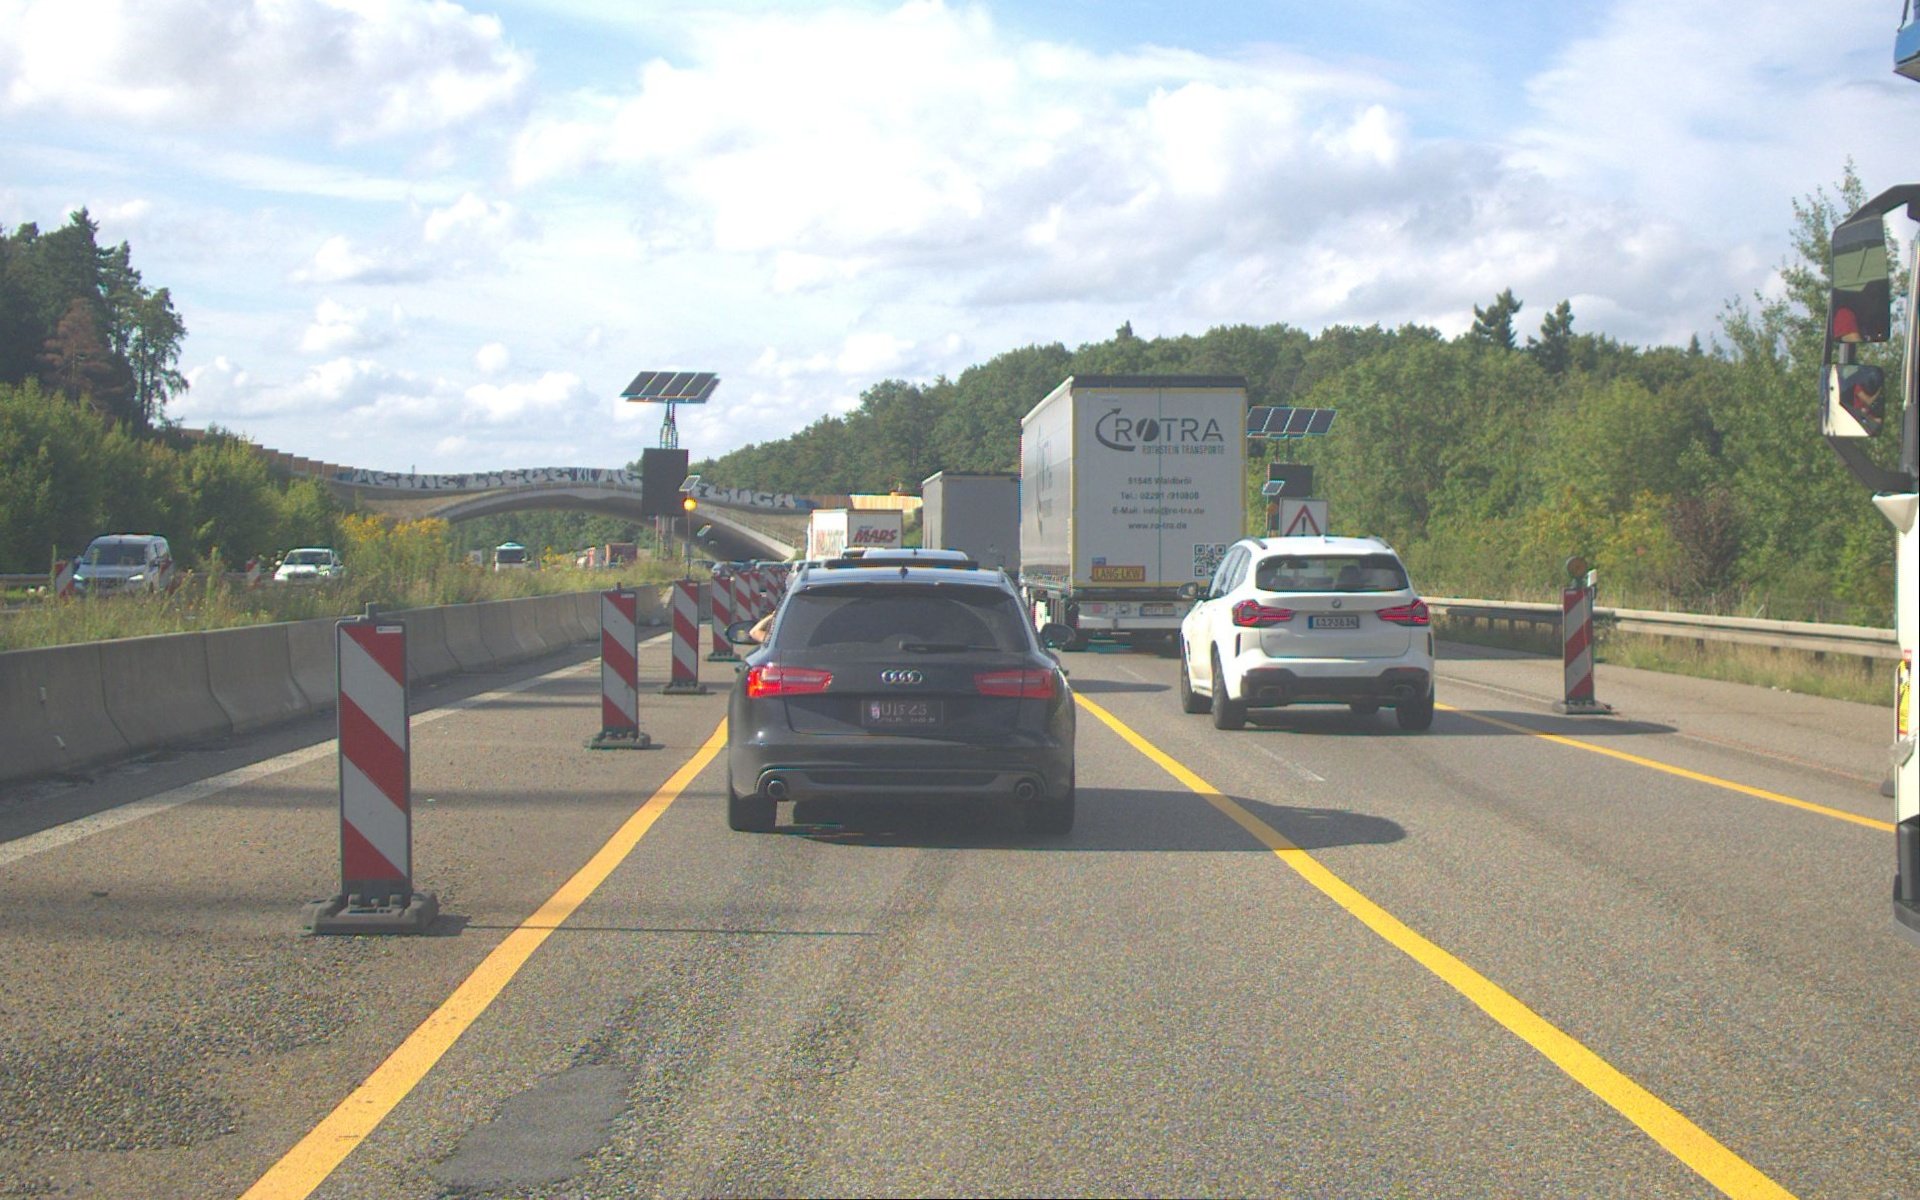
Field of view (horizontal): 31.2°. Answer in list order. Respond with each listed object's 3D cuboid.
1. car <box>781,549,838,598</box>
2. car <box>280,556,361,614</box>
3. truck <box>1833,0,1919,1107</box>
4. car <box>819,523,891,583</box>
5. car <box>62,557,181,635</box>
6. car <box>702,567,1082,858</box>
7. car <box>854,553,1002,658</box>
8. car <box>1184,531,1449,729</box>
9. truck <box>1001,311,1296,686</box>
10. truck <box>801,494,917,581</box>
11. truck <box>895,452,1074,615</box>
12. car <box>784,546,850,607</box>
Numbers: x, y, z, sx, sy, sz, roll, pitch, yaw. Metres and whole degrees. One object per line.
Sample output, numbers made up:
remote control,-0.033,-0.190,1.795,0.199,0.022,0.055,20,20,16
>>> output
car,-6.431,-1.130,146.679,1.993,2.007,4.001,1,0,-8
car,-20.168,-0.472,108.589,1.778,1.780,4.365,1,0,-1
truck,4.556,-0.658,6.291,3.761,4.182,7.951,1,0,-1
car,-3.025,-1.337,98.597,1.890,1.638,4.018,1,0,-4
car,-19.884,-0.115,81.690,1.778,1.780,4.365,1,0,-1
car,-0.366,0.548,19.304,1.890,1.441,4.000,1,0,-1
car,-0.503,0.057,49.699,1.890,1.441,4.001,1,0,-4
car,3.118,0.235,30.833,1.890,1.638,4.018,1,0,-1
truck,2.805,-1.525,57.441,3.677,5.335,16.202,1,0,-1
truck,-4.824,-2.896,161.224,3.653,3.915,11.070,1,0,-11
truck,0.592,-1.948,103.432,4.318,4.584,11.126,1,0,-5
car,-4.918,-0.807,117.514,1.993,2.007,4.001,1,0,-6
